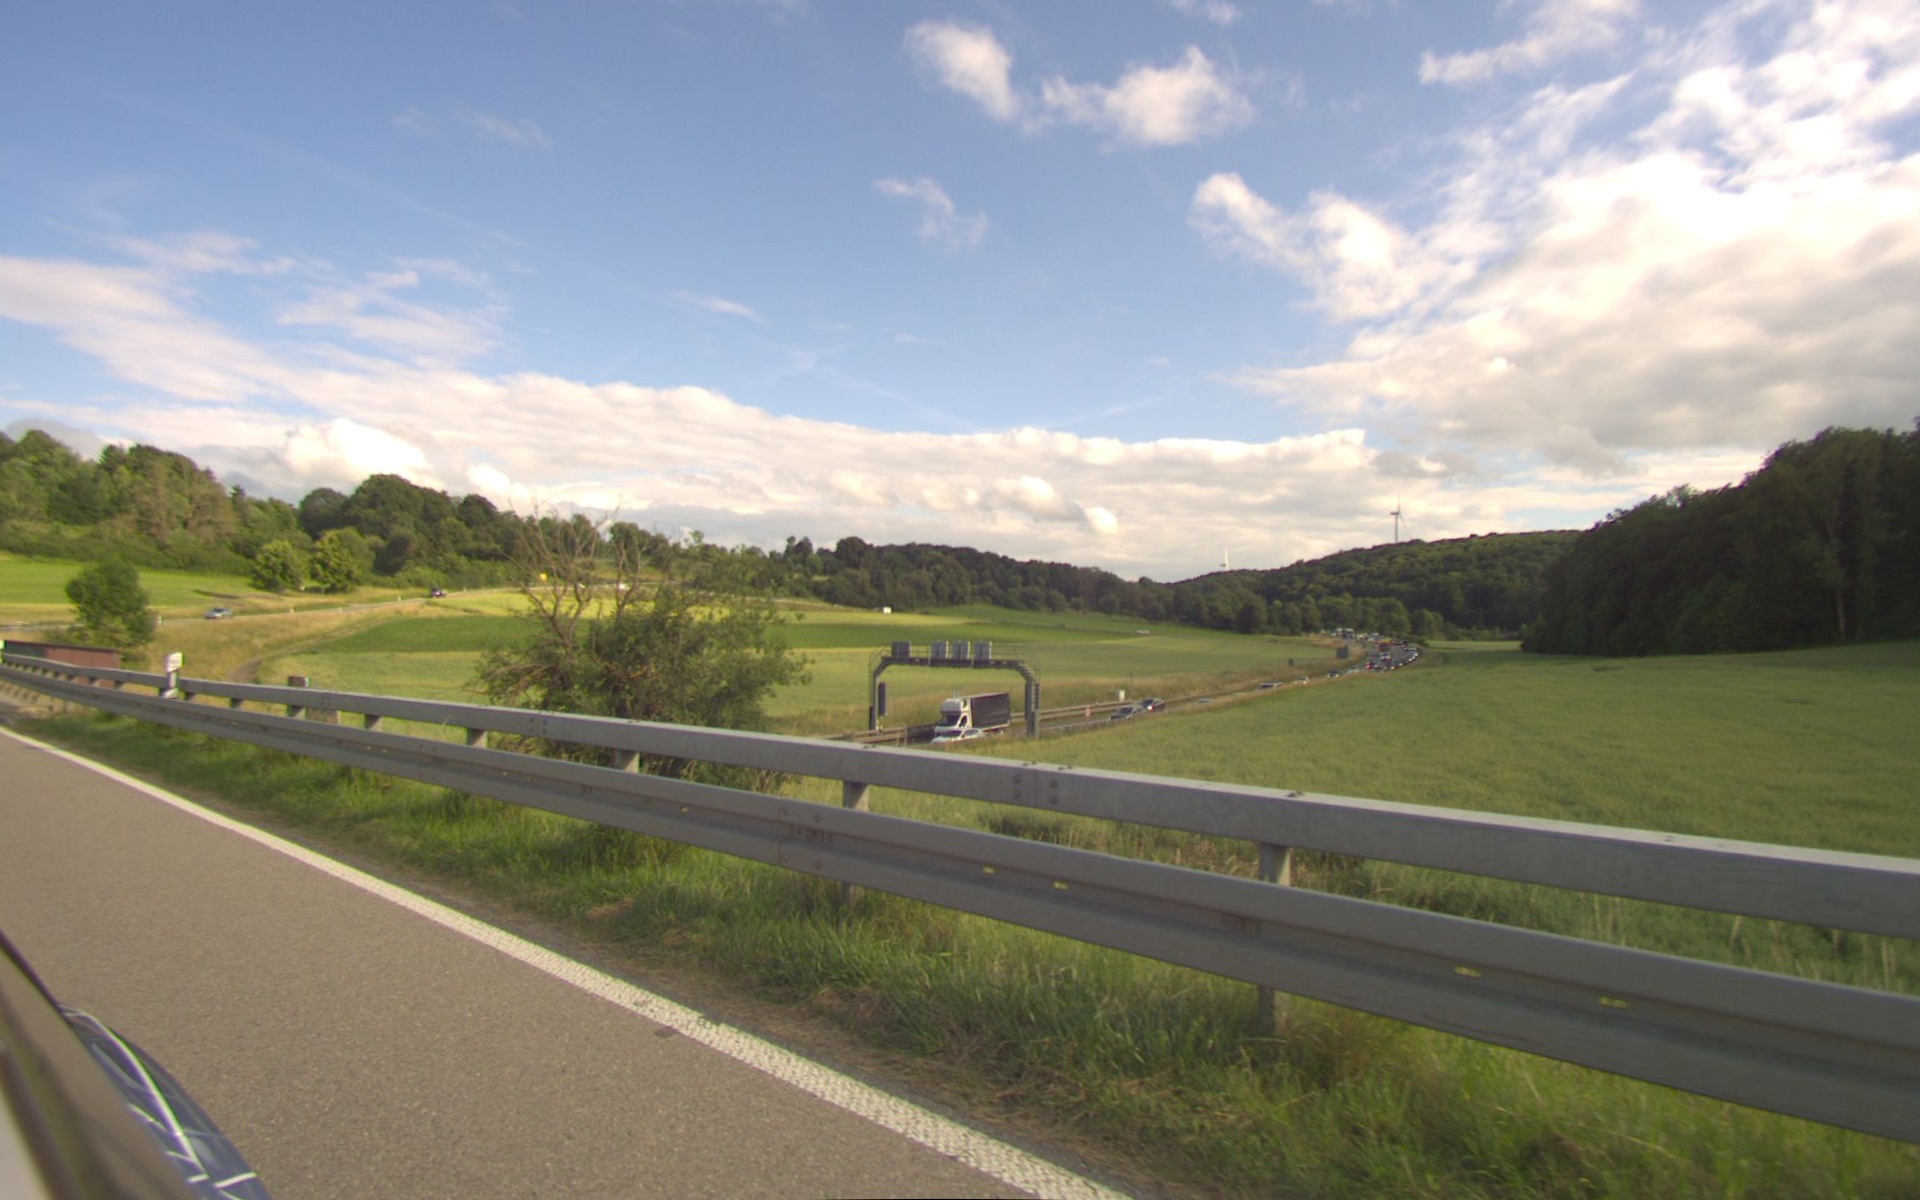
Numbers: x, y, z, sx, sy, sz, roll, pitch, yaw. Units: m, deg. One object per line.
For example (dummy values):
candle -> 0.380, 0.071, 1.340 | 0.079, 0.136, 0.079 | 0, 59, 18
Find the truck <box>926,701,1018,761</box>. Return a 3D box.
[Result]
truck -> 0.995, 9.513, 74.503 | 2.121, 3.431, 8.387 | -1, -1, 38

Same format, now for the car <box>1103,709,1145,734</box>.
car -> 13.426, 9.902, 82.846 | 1.825, 1.662, 3.950 | -1, -2, 36

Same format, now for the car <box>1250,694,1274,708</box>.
car -> 38.276, 12.737, 128.085 | 1.824, 1.454, 3.952 | -1, -2, 35

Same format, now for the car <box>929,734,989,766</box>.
car -> -0.047, 9.526, 64.532 | 1.825, 1.662, 3.950 | -1, -5, 36
